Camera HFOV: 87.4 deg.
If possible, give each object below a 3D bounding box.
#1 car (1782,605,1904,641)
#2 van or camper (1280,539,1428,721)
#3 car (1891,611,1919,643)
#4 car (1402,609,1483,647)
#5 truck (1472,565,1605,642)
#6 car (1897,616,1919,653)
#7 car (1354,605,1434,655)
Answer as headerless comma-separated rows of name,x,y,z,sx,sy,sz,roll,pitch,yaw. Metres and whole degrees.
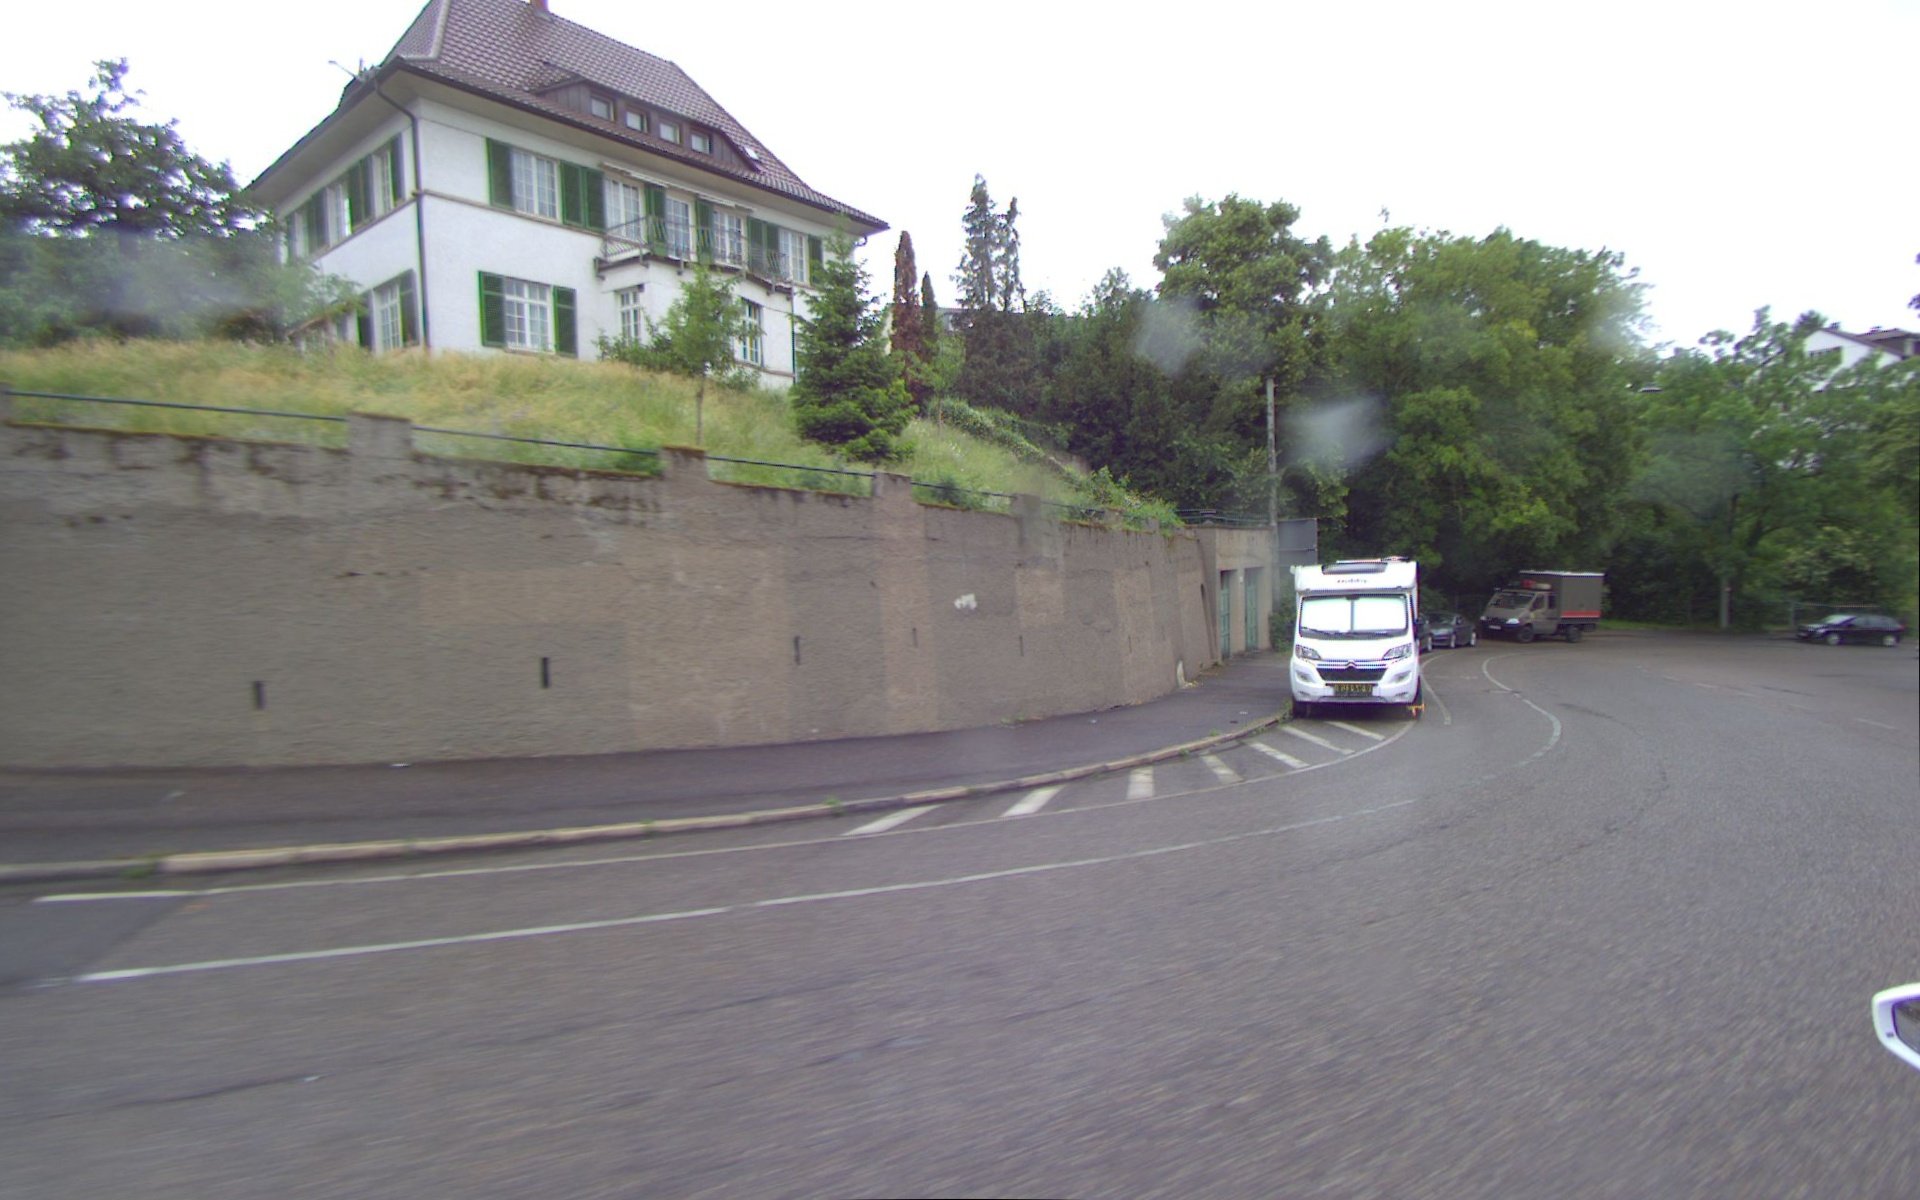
car,43.586,1.119,49.664,4.226,1.485,1.784,1,5,3
van or camper,7.607,0.508,19.257,2.121,2.826,7.046,-2,-1,23
car,48.851,1.414,49.274,4.227,1.375,1.758,3,6,18
car,19.059,1.074,39.601,1.681,1.293,4.222,2,2,43
truck,25.796,0.168,44.727,6.536,3.145,2.023,1,4,-31
car,44.452,1.636,44.160,4.365,1.591,1.805,2,2,12
car,15.316,0.987,35.326,1.677,1.519,4.513,2,2,35
